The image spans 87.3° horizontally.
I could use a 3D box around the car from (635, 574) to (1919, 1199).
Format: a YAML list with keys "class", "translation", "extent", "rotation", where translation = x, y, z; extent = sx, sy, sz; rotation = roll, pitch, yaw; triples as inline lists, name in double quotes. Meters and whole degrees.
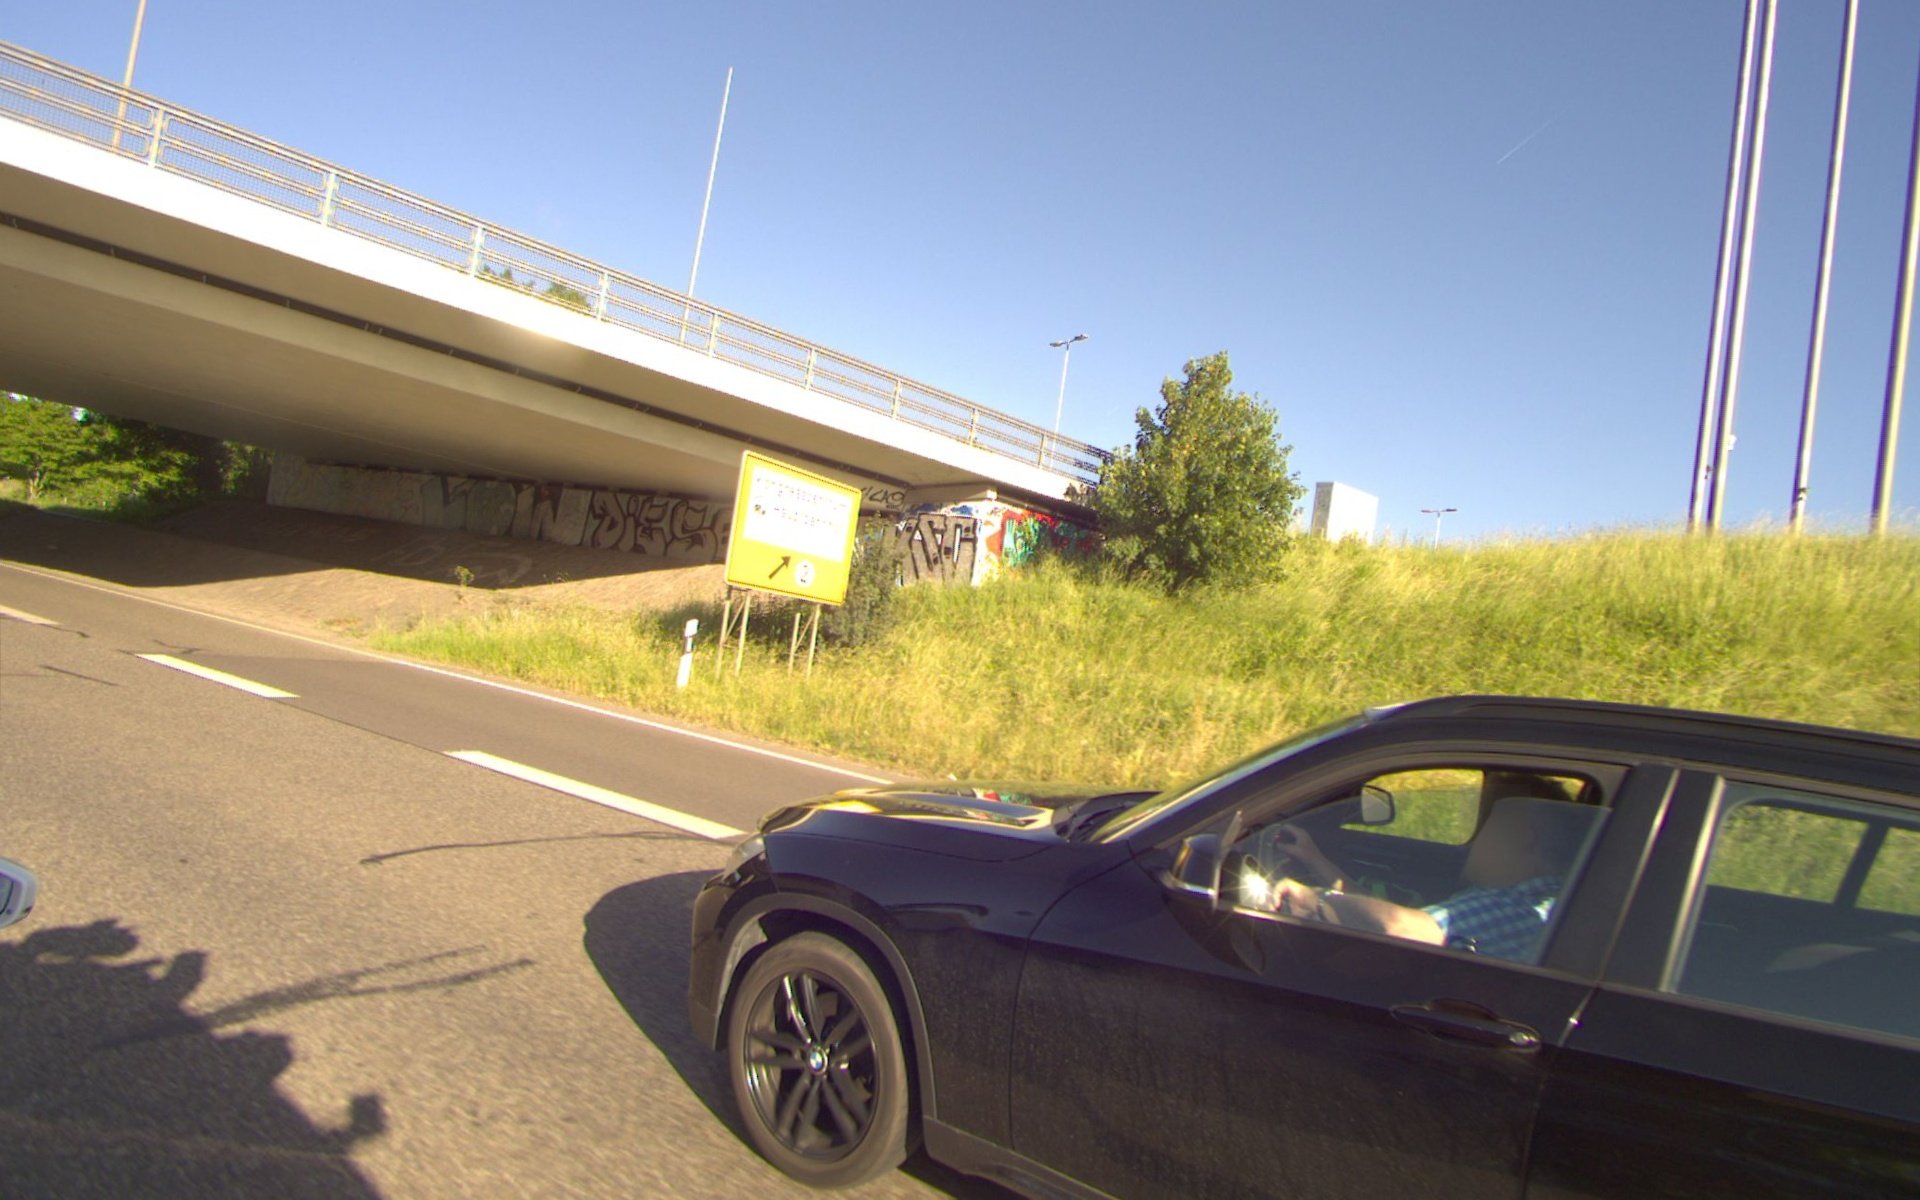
- class: "car"
  translation: [1.496, 0.982, 2.417]
  extent: [4.503, 1.524, 1.702]
  rotation: [7, -1, 32]
